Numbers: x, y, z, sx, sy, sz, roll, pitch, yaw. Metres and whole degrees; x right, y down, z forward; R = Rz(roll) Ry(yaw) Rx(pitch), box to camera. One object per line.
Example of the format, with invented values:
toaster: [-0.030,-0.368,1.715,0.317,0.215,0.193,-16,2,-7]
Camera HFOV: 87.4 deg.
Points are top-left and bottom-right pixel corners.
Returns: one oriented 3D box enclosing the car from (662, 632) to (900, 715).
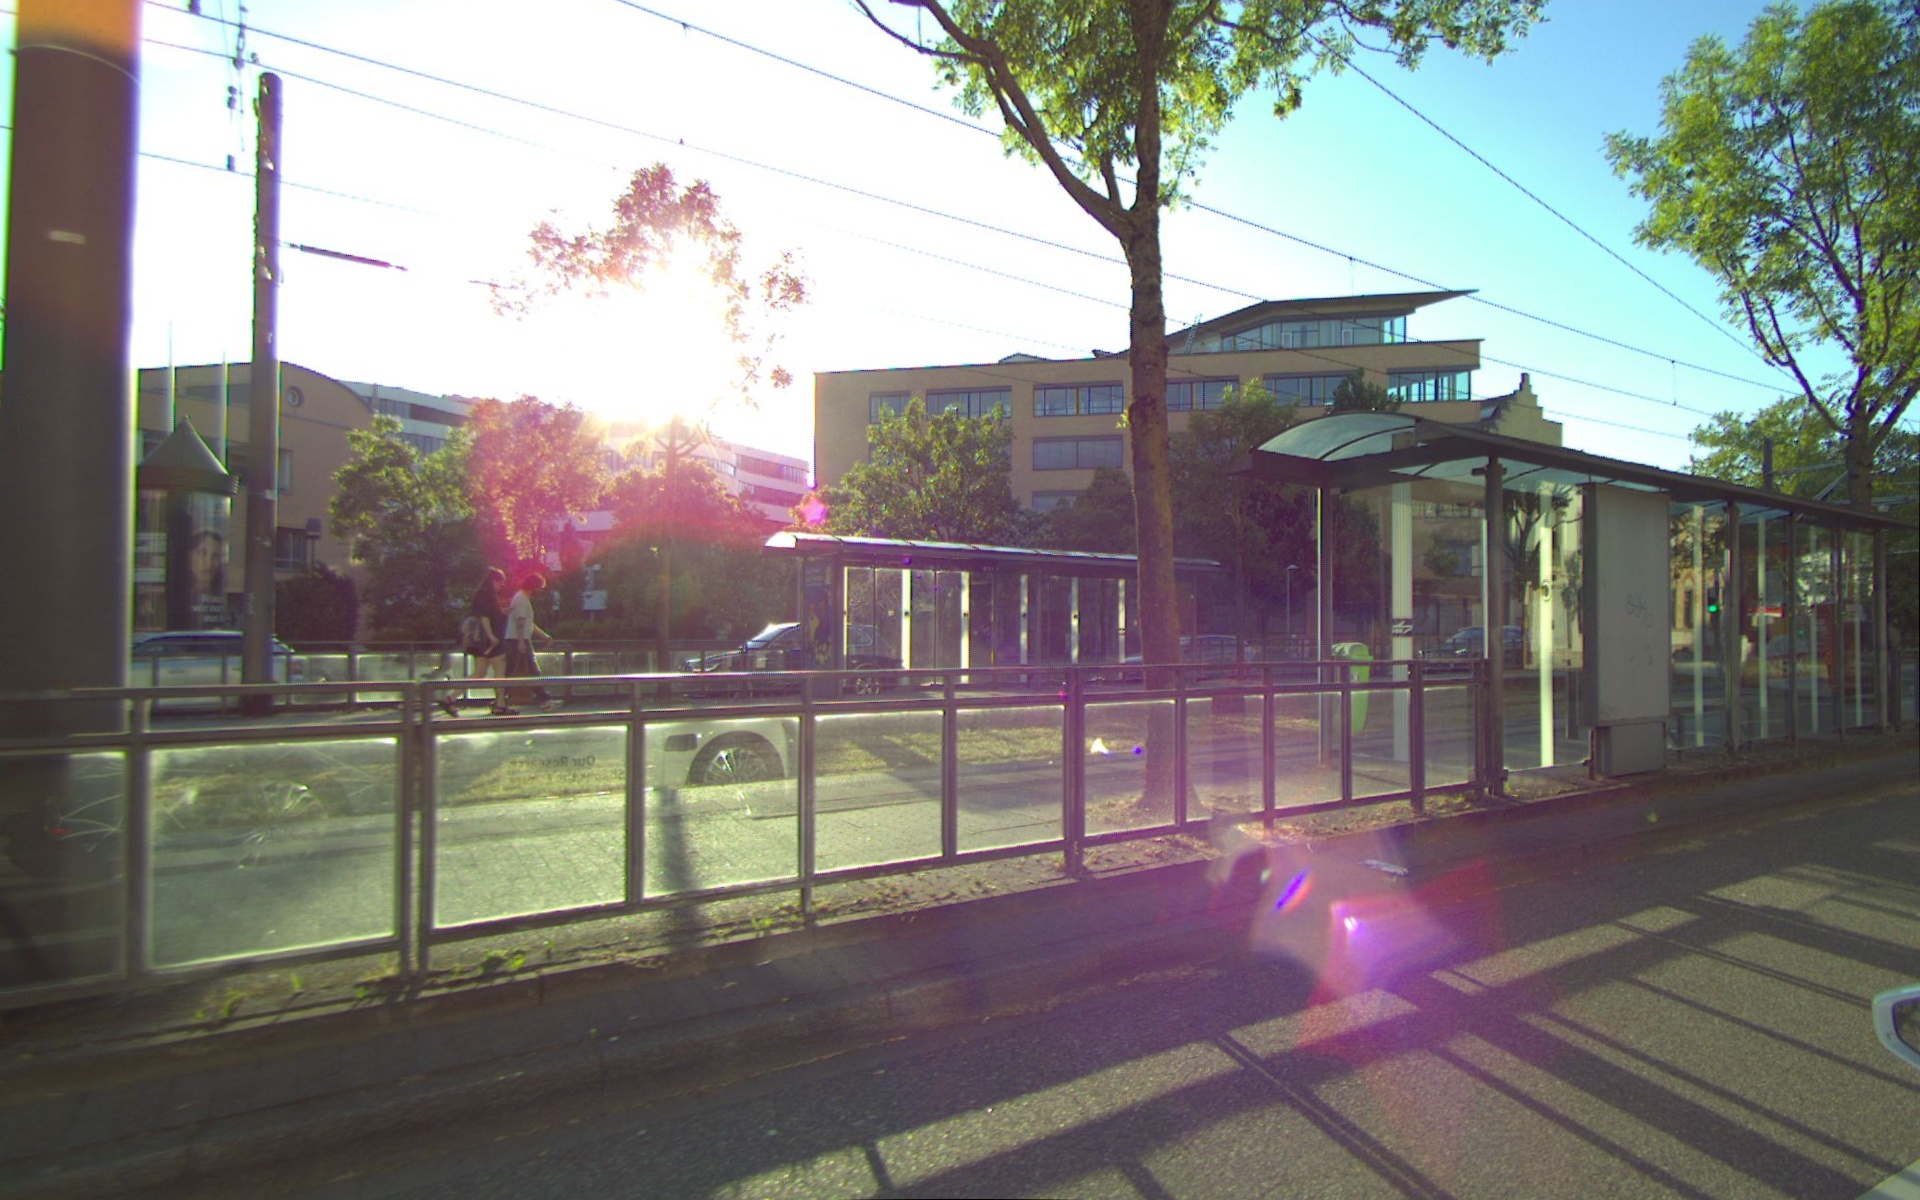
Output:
car: [-3.498,1.394,19.910,4.295,1.434,1.784,2,0,-33]

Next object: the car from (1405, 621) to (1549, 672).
car: [16.888,1.482,32.755,4.838,1.572,1.983,1,-1,-31]

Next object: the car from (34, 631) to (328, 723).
car: [-12.840,1.265,16.878,3.707,1.394,1.604,2,-5,-32]

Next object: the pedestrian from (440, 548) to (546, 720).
pedestrian: [-5.810,0.416,12.496,1.114,2.040,0.766,1,-1,-30]

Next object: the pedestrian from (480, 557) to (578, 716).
pedestrian: [-5.816,0.485,13.540,1.114,2.040,0.766,1,-1,-30]

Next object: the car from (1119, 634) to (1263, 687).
car: [6.888,1.762,29.753,4.388,1.432,1.600,2,-2,-34]
